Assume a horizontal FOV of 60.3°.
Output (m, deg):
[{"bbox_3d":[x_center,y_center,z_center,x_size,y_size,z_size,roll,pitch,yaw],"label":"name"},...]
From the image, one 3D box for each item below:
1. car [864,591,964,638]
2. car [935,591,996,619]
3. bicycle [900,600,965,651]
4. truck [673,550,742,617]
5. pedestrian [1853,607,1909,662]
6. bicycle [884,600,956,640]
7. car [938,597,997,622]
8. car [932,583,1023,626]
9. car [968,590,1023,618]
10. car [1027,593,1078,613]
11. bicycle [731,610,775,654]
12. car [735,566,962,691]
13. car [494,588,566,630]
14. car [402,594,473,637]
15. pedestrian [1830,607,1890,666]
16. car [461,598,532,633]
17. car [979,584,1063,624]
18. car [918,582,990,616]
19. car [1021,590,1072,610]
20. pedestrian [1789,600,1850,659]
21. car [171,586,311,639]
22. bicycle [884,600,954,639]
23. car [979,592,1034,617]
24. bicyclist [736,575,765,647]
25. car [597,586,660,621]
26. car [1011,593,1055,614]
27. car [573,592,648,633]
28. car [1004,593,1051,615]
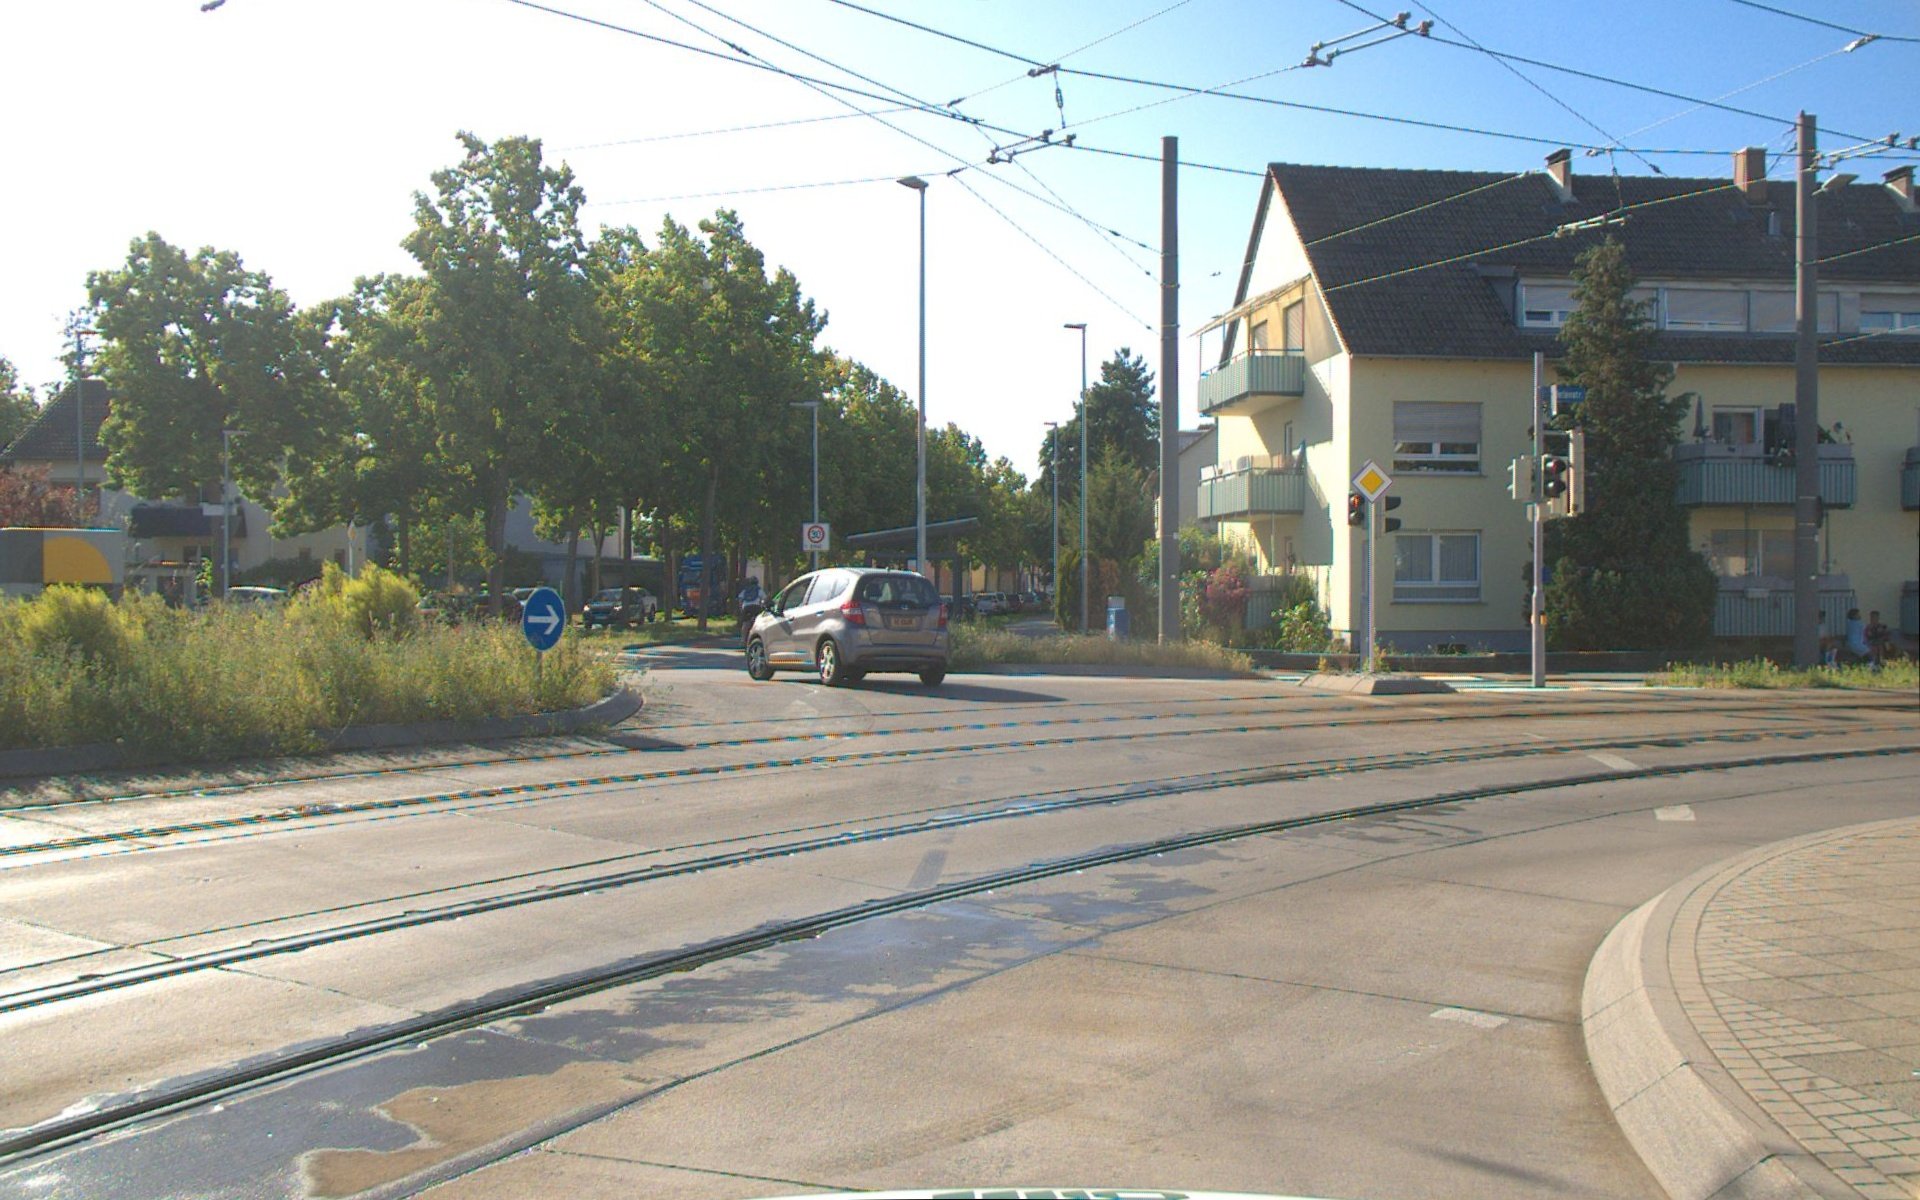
[{"bbox_3d":[-1.630,0.513,59.218,3.444,1.560,1.578,2,0,1],"label":"car"},{"bbox_3d":[0.337,0.281,94.121,3.340,1.560,1.526,0,0,5],"label":"car"},{"bbox_3d":[-0.706,0.648,42.142,1.632,1.229,0.688,1,0,-3],"label":"bicycle"},{"bbox_3d":[-16.187,-1.081,106.465,3.006,4.062,8.009,1,1,1],"label":"truck"},{"bbox_3d":[17.501,0.656,31.444,0.587,1.023,0.717,1,0,-30],"label":"pedestrian"},{"bbox_3d":[-1.111,0.560,45.829,1.933,1.045,0.696,1,0,-3],"label":"bicycle"},{"bbox_3d":[0.453,0.535,96.061,3.368,1.419,1.238,0,0,5],"label":"car"},{"bbox_3d":[0.701,0.168,64.181,3.444,1.560,1.578,2,0,1],"label":"car"},{"bbox_3d":[2.131,0.227,99.688,3.290,1.560,1.523,2,0,0],"label":"car"},{"bbox_3d":[6.372,0.216,114.054,3.444,1.318,1.577,2,0,0],"label":"car"},{"bbox_3d":[-5.063,0.785,40.351,0.754,1.055,1.525,1,-2,-19],"label":"bicycle"},{"bbox_3d":[-1.613,0.306,22.588,1.669,1.516,3.878,-1,2,-28],"label":"car"},{"bbox_3d":[-18.727,0.386,72.262,1.952,1.729,4.218,1,0,1],"label":"car"},{"bbox_3d":[-19.326,0.533,61.279,1.765,1.490,3.796,1,0,-7],"label":"car"},{"bbox_3d":[16.956,0.686,31.178,0.620,1.083,0.808,1,0,-39],"label":"pedestrian"},{"bbox_3d":[-18.863,0.609,67.451,1.922,1.347,3.997,1,0,-3],"label":"car"},{"bbox_3d":[2.569,0.160,69.657,3.444,1.560,1.578,2,0,1],"label":"car"},{"bbox_3d":[-0.286,-0.036,81.347,3.444,1.560,1.578,2,0,1],"label":"car"},{"bbox_3d":[5.932,0.016,113.866,3.444,1.301,1.577,2,0,0],"label":"car"},{"bbox_3d":[16.087,0.544,30.965,0.673,1.065,0.818,1,0,-8],"label":"pedestrian"},{"bbox_3d":[-25.046,0.425,57.693,3.953,1.724,2.001,1,0,2],"label":"car"},{"bbox_3d":[-1.164,0.555,46.777,1.933,1.045,0.688,1,0,-3],"label":"bicycle"},{"bbox_3d":[2.923,0.278,104.459,3.407,1.519,1.552,2,0,0],"label":"car"},{"bbox_3d":[-5.156,0.269,40.702,0.594,1.744,0.541,1,-4,-19],"label":"bicyclist"},{"bbox_3d":[-17.745,0.185,88.804,1.951,1.803,5.063,1,0,5],"label":"car"},{"bbox_3d":[5.916,0.284,134.450,3.444,1.560,1.577,2,0,0],"label":"car"},{"bbox_3d":[-14.753,0.504,70.058,1.792,1.608,4.443,1,0,6],"label":"car"},{"bbox_3d":[5.038,0.297,123.823,3.444,1.560,1.577,2,0,0],"label":"car"}]
